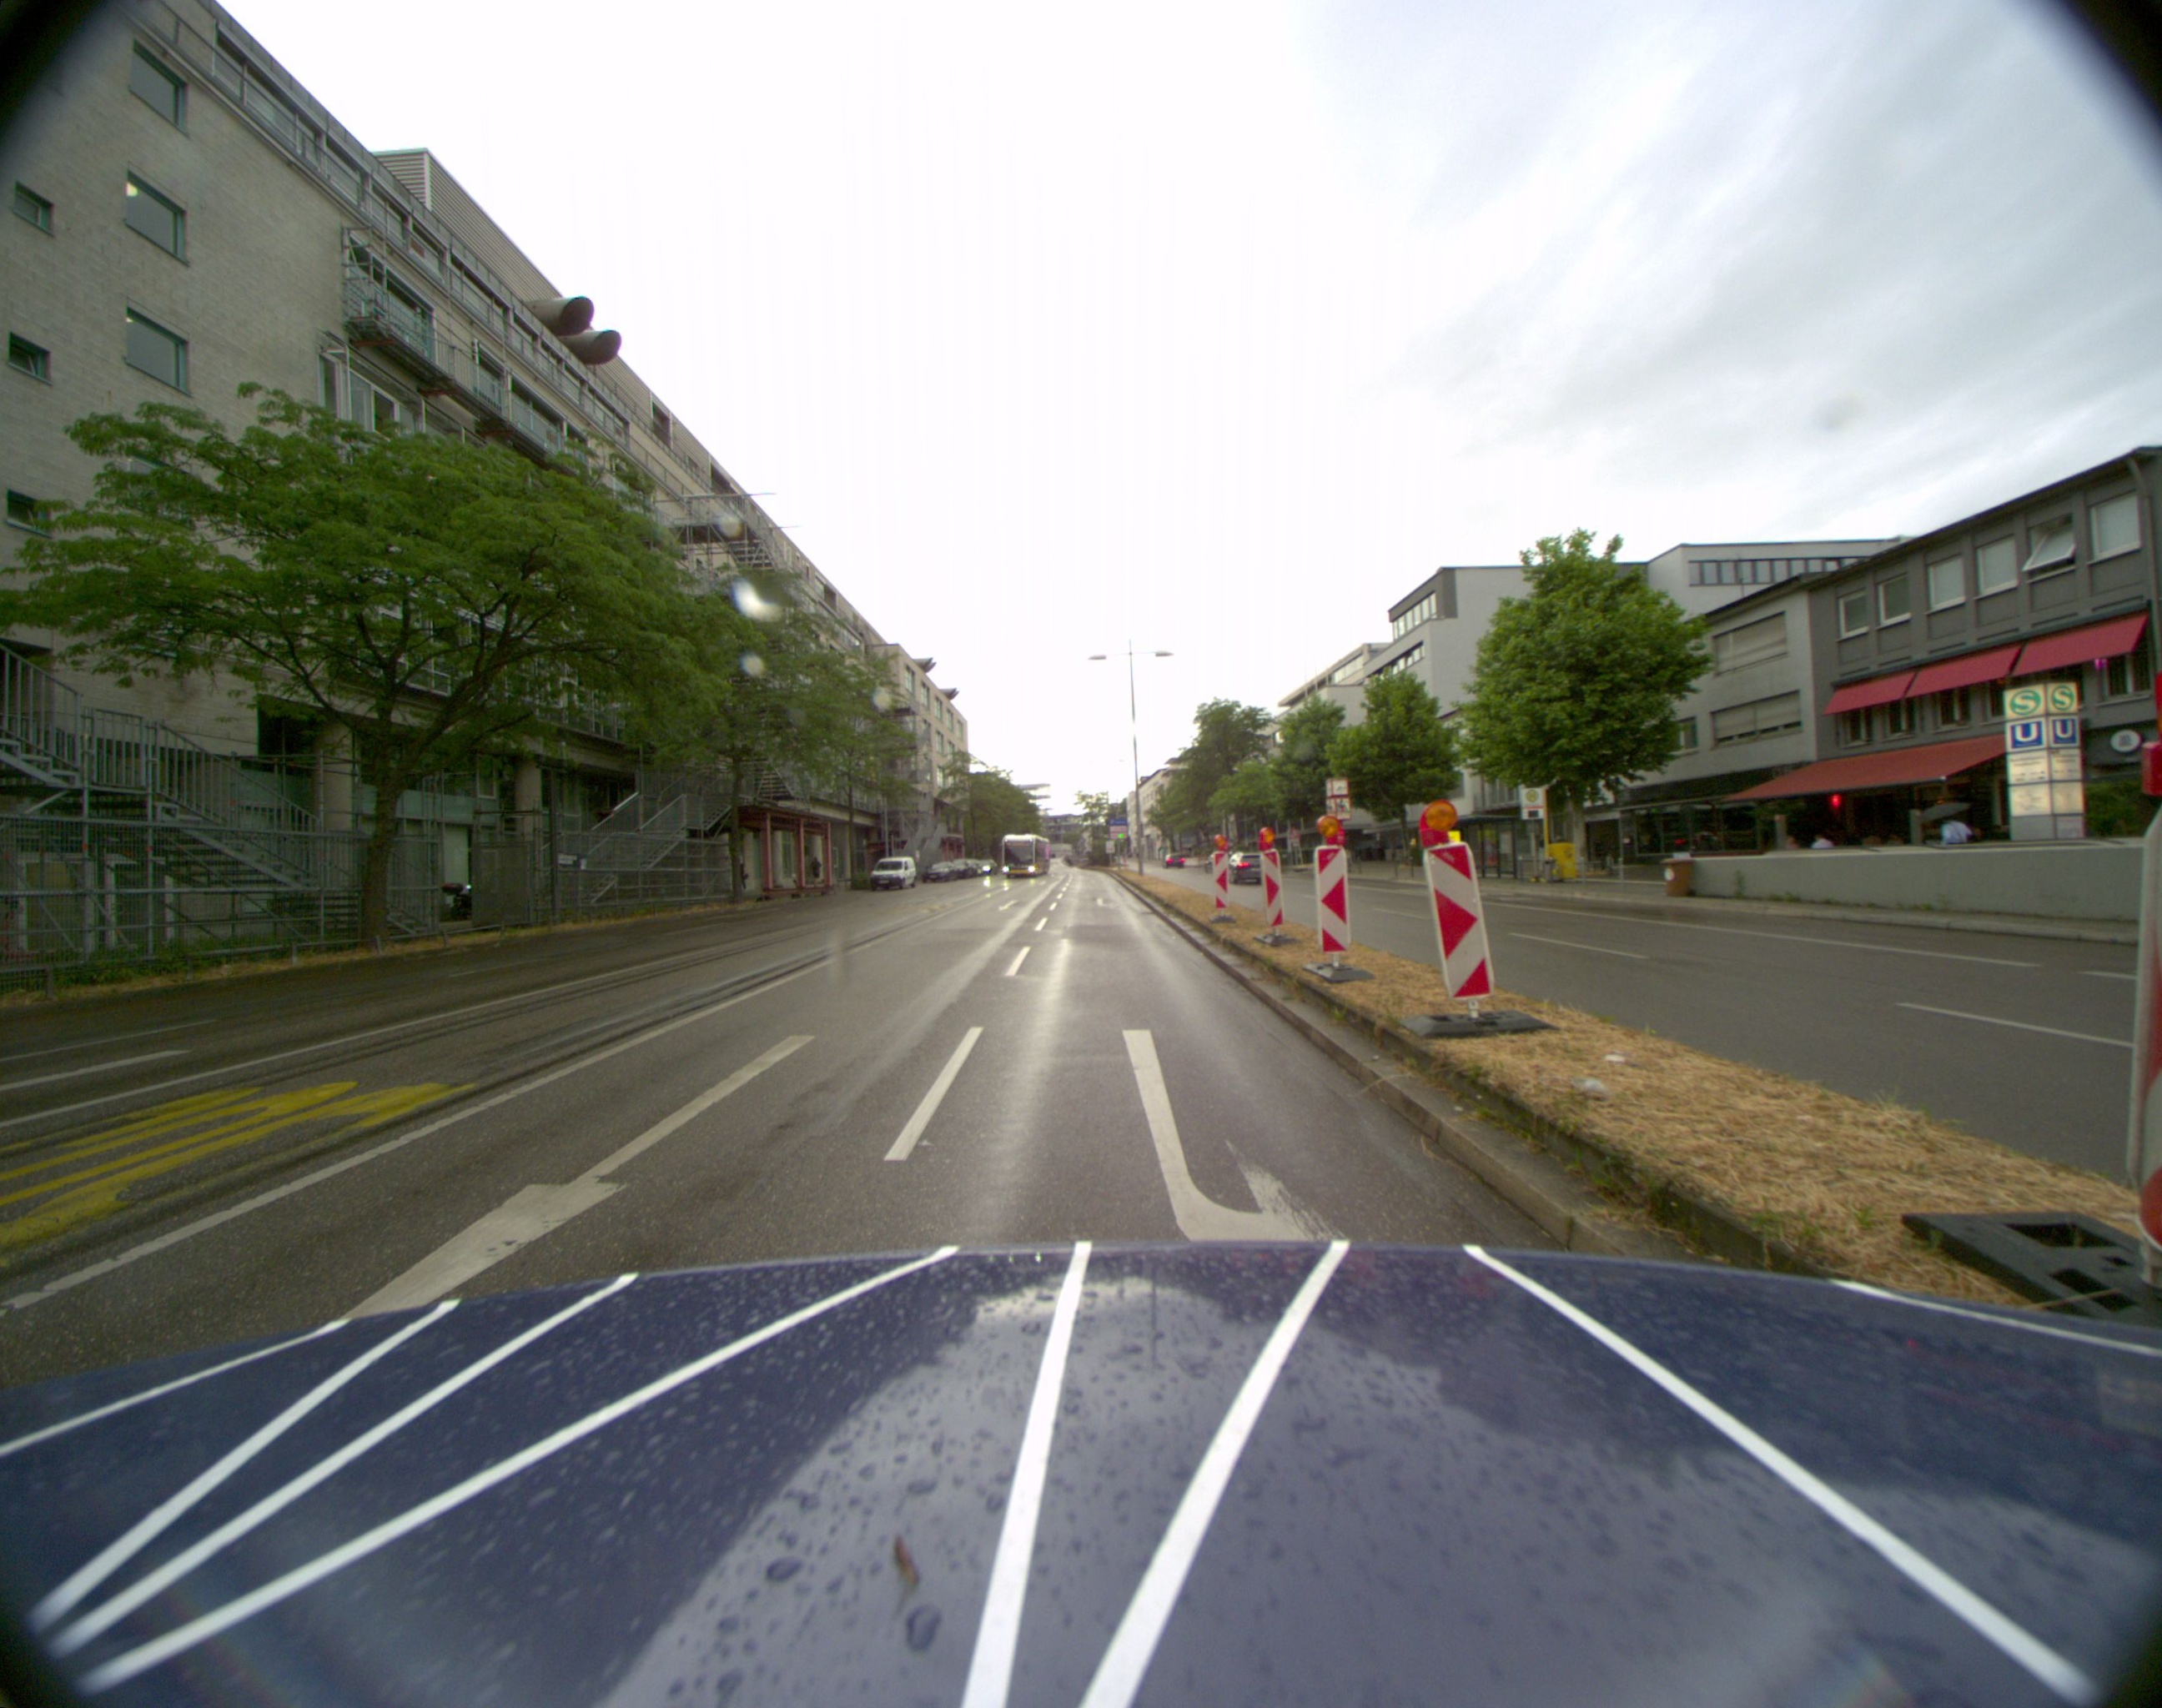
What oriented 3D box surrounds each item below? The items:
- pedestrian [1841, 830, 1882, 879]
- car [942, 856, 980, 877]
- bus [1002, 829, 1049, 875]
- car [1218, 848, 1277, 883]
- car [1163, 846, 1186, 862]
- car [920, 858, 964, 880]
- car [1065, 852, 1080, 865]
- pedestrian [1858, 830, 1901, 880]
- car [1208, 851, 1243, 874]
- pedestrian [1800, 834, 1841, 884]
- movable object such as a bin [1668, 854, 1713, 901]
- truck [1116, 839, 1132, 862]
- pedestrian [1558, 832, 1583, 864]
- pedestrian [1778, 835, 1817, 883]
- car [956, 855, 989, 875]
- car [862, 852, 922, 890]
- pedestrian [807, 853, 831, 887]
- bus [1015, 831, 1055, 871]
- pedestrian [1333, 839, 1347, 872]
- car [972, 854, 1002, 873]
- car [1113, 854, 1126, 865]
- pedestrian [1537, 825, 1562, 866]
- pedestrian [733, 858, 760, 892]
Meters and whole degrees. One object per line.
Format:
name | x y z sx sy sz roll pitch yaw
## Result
pedestrian | 25.102 0.021 24.449 0.669 1.520 0.611 -2 1 4
car | -9.617 0.983 61.229 2.147 1.486 4.816 -2 1 1
bus | -4.373 -0.204 62.148 2.890 3.430 9.756 -2 1 1
car | 7.719 0.517 35.551 1.692 1.501 4.290 -2 0 -2
car | 9.774 0.000 80.009 1.692 1.545 4.419 -2 1 -2
car | -9.886 1.035 54.431 2.147 1.329 4.816 -2 1 1
car | -1.443 0.777 131.589 1.998 2.002 4.001 -2 1 6
pedestrian | 24.997 0.035 23.799 0.669 1.520 0.611 -2 1 3
car | 10.155 0.642 53.716 1.691 1.422 4.216 -2 -2 1
pedestrian | 23.015 0.160 23.654 0.669 1.520 0.611 -2 1 3
movable object such as a bin | 14.567 0.554 18.176 0.507 1.094 0.660 -2 1 -2
truck | 7.116 -0.556 127.124 1.999 3.557 7.572 -2 0 -2
pedestrian | 24.483 -0.313 38.046 0.774 1.556 0.767 -2 1 8
pedestrian | 23.353 0.163 24.771 0.669 1.520 0.611 -2 1 3
car | -9.456 0.943 66.699 2.147 1.552 4.816 -2 1 1
car | -10.522 0.921 42.665 2.213 1.895 4.329 -2 1 0
pedestrian | -16.192 0.963 46.939 1.009 2.002 1.039 -2 1 1
bus | -4.229 -0.315 71.880 2.890 3.420 9.709 -2 1 1
pedestrian | 14.374 0.070 42.245 0.575 1.815 0.580 -2 1 7
car | -8.886 0.901 72.435 2.147 1.637 4.816 -2 1 1
car | 6.990 0.988 139.336 1.999 2.002 3.999 -2 1 -2
pedestrian | 23.491 -0.413 38.103 0.774 2.002 0.767 -2 1 8
pedestrian | -18.169 1.111 41.267 1.010 1.789 0.846 -2 1 -3
